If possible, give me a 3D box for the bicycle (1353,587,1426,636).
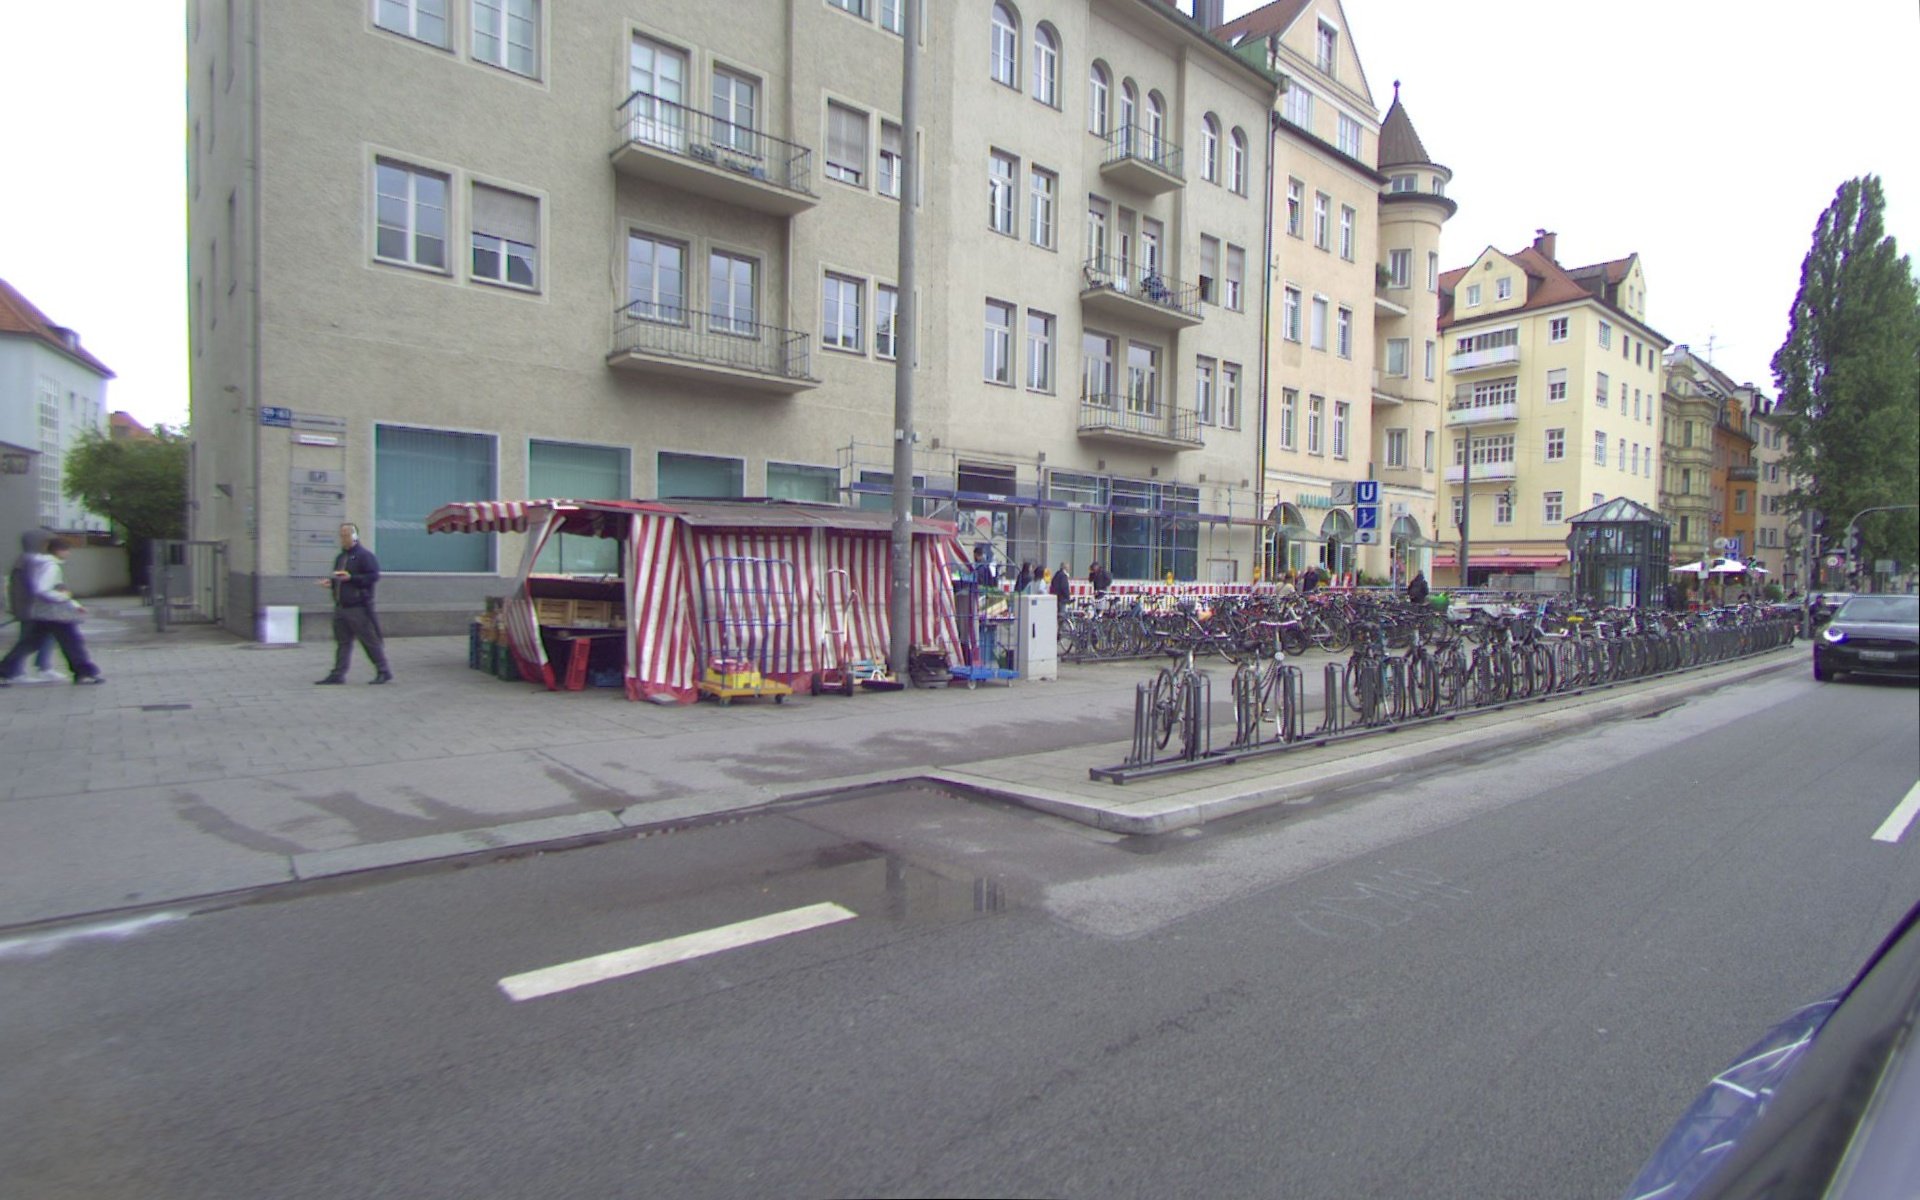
[{"bbox_3d":[10.669,0.265,25.171,0.403,1.091,1.651,0,3,-38],"label":"bicycle"}]

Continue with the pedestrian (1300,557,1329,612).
[{"bbox_3d":[11.682,-0.512,33.346,0.634,1.760,0.617,0,3,-42],"label":"pedestrian"}]

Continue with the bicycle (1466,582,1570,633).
[{"bbox_3d":[14.929,0.182,27.149,0.617,1.242,2.369,0,2,-38],"label":"bicycle"}]

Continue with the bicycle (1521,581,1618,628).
[{"bbox_3d":[17.590,0.118,29.266,0.617,1.242,2.331,0,2,-38],"label":"bicycle"}]

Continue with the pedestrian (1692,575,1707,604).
[{"bbox_3d":[43.573,-0.626,59.600,0.575,1.705,0.552,0,2,-40],"label":"pedestrian"}]

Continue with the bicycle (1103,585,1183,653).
[{"bbox_3d":[3.295,0.315,18.382,0.402,1.116,1.636,0,3,-32],"label":"bicycle"}]

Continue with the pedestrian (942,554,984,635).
[{"bbox_3d":[0.065,-0.121,20.454,0.542,1.584,0.654,0,2,-34],"label":"pedestrian"}]

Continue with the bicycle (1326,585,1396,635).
[{"bbox_3d":[9.508,0.220,24.031,1.449,1.091,0.404,4,4,44],"label":"bicycle"}]

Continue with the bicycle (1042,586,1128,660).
[{"bbox_3d":[2.083,0.353,17.030,0.402,1.116,1.635,0,3,-36],"label":"bicycle"}]

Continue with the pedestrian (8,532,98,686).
[{"bbox_3d":[-9.791,0.076,10.949,0.622,1.603,0.644,0,2,-33],"label":"pedestrian"}]

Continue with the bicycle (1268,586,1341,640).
[{"bbox_3d":[7.603,0.269,22.382,1.447,1.091,0.404,4,3,41],"label":"bicycle"}]

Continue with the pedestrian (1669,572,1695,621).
[{"bbox_3d":[26.951,-0.151,37.778,0.634,1.799,0.605,1,1,26],"label":"pedestrian"}]

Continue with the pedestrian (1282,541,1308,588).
[{"bbox_3d":[11.357,-1.207,34.313,0.555,1.560,0.592,0,2,-12],"label":"pedestrian"}]

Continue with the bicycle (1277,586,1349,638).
[{"bbox_3d":[7.971,0.255,22.880,1.447,1.091,0.404,4,3,41],"label":"bicycle"}]

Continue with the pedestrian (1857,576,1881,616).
[{"bbox_3d":[43.227,-0.188,48.130,0.729,1.823,0.701,3,4,40],"label":"pedestrian"}]

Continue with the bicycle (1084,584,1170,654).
[{"bbox_3d":[2.920,0.307,17.844,0.403,1.116,1.633,0,3,-38],"label":"bicycle"}]

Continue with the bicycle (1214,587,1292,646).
[{"bbox_3d":[5.960,0.318,20.637,1.447,1.091,0.404,4,3,41],"label":"bicycle"}]

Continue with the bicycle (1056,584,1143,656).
[{"bbox_3d":[2.388,0.318,17.517,0.403,1.116,1.633,0,3,-38],"label":"bicycle"}]

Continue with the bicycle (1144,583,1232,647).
[{"bbox_3d":[4.398,0.272,19.575,1.627,1.116,0.404,4,3,40],"label":"bicycle"}]

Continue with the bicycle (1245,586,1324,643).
[{"bbox_3d":[6.858,0.295,21.415,1.530,1.091,0.404,4,3,42],"label":"bicycle"}]

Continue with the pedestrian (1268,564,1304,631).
[{"bbox_3d":[8.072,-0.071,25.053,0.528,1.602,0.660,0,2,-45],"label":"pedestrian"}]

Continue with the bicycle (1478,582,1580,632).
[{"bbox_3d":[15.459,0.169,27.554,0.617,1.242,2.344,0,2,-38],"label":"bicycle"}]

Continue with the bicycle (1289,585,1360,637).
[{"bbox_3d":[8.336,0.246,23.201,1.447,1.091,0.404,4,3,41],"label":"bicycle"}]

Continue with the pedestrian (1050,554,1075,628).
[{"bbox_3d":[2.384,-0.214,23.652,0.495,1.695,0.541,0,1,-3],"label":"pedestrian"}]

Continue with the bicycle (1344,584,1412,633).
[{"bbox_3d":[10.213,0.200,24.749,1.449,1.091,0.404,4,4,44],"label":"bicycle"}]

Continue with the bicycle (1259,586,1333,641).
[{"bbox_3d":[7.263,0.281,21.934,1.447,1.091,0.404,4,3,41],"label":"bicycle"}]

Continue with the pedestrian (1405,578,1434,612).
[{"bbox_3d":[17.903,-0.208,39.404,0.904,1.260,0.700,-2,3,-42],"label":"pedestrian"}]

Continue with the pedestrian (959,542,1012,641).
[{"bbox_3d":[0.489,-0.178,19.479,0.713,1.851,0.720,2,2,35],"label":"pedestrian"}]

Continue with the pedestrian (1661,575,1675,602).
[{"bbox_3d":[44.786,-0.716,64.058,0.575,1.705,0.552,0,2,-40],"label":"pedestrian"}]

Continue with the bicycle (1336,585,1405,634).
[{"bbox_3d":[9.885,0.210,24.396,1.449,1.091,0.404,4,4,44],"label":"bicycle"}]

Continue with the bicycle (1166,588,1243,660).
[{"bbox_3d":[4.103,0.387,17.081,0.402,1.091,1.477,0,3,-26],"label":"bicycle"}]

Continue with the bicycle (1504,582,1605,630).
[{"bbox_3d":[16.738,0.139,28.555,0.617,1.242,2.344,0,2,-38],"label":"bicycle"}]

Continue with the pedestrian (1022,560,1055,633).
[{"bbox_3d":[1.695,-0.087,21.862,0.458,1.559,0.560,-1,1,-40],"label":"pedestrian"}]

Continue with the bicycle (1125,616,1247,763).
[{"bbox_3d":[1.775,0.670,8.167,0.536,1.068,1.576,0,-2,-3],"label":"bicycle"}]

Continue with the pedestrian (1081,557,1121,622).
[{"bbox_3d":[3.642,-0.271,26.169,0.819,1.652,0.564,0,2,-38],"label":"pedestrian"}]

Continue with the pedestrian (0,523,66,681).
[{"bbox_3d":[-10.421,0.009,11.286,0.585,1.722,0.582,0,2,-33],"label":"pedestrian"}]

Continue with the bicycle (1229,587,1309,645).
[{"bbox_3d":[6.404,0.306,21.041,1.530,1.091,0.404,4,3,42],"label":"bicycle"}]

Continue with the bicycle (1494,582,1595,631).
[{"bbox_3d":[16.078,0.158,27.911,0.617,1.242,2.318,0,2,-38],"label":"bicycle"}]

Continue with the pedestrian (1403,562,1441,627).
[{"bbox_3d":[12.719,-0.161,27.886,0.728,1.729,0.703,2,2,8],"label":"pedestrian"}]

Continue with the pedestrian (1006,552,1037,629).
[{"bbox_3d":[1.362,-0.218,22.412,0.463,1.694,0.526,-1,1,-35],"label":"pedestrian"}]

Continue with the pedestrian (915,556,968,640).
[{"bbox_3d":[-0.351,-0.057,19.155,0.716,1.546,0.678,0,2,-39],"label":"pedestrian"}]

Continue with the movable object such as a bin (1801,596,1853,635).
[{"bbox_3d":[26.351,0.470,30.772,0.735,1.075,1.088,-1,5,-44],"label":"movable object such as a bin"}]

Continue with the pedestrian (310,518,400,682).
[{"bbox_3d":[-6.888,-0.015,11.543,0.598,1.792,0.720,2,2,0],"label":"pedestrian"}]

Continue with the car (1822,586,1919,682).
[{"bbox_3d":[16.376,0.526,17.536,3.982,1.488,1.738,-1,2,-43],"label":"car"}]

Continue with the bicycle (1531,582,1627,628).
[{"bbox_3d":[18.160,0.122,29.741,0.617,1.242,2.318,0,2,-38],"label":"bicycle"}]
